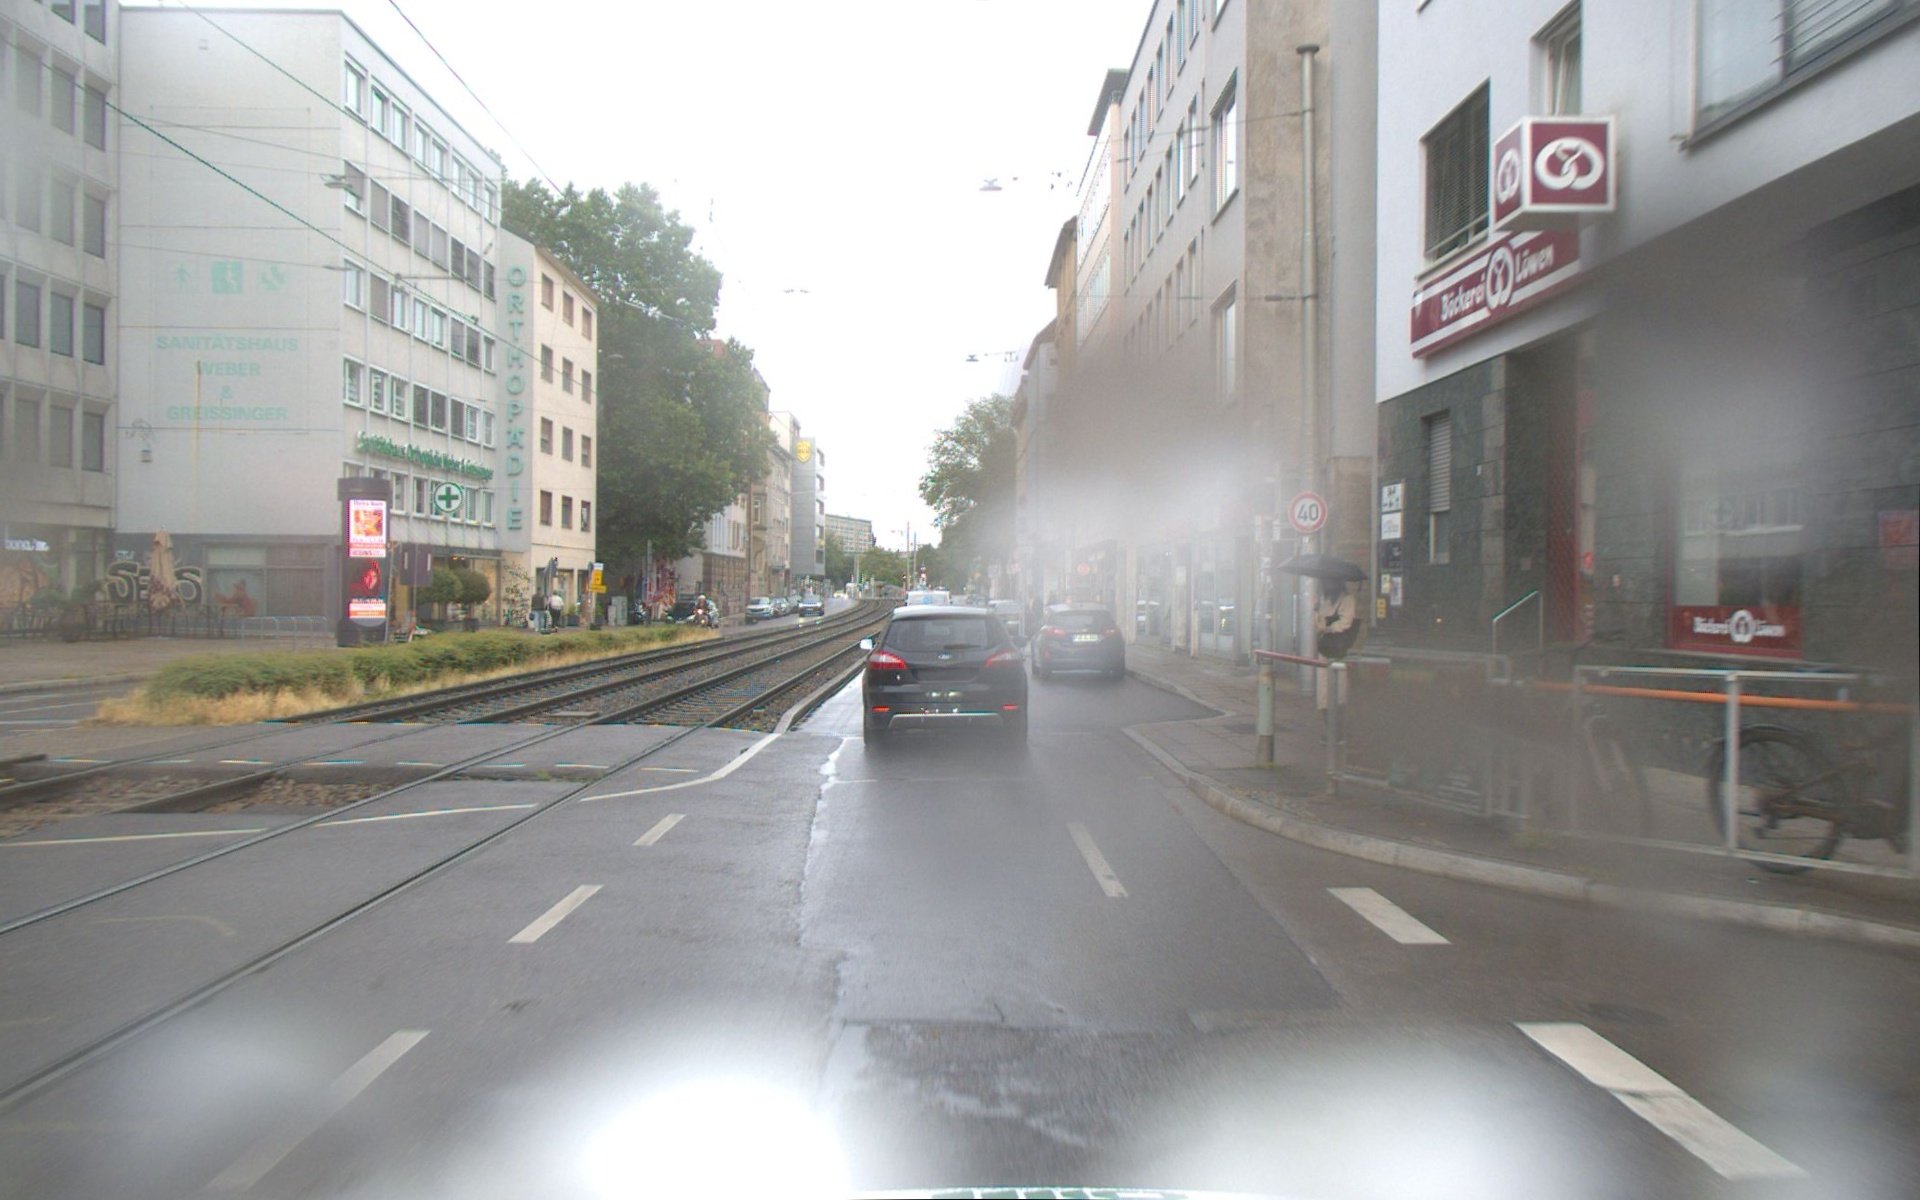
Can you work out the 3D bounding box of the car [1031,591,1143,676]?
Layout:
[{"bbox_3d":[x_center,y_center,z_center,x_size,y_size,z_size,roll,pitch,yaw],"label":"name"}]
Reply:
[{"bbox_3d":[2.541,0.675,33.948,1.953,1.622,4.270,-1,-1,0],"label":"car"}]

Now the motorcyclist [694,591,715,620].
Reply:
[{"bbox_3d":[-10.883,0.245,70.487,0.726,1.239,0.970,0,-1,1],"label":"motorcyclist"}]

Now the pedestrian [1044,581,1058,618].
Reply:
[{"bbox_3d":[5.107,-0.020,93.300,0.721,2.049,0.821,0,0,-2],"label":"pedestrian"}]

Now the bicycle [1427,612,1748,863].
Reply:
[{"bbox_3d":[3.516,0.712,9.464,0.490,1.281,1.941,1,-1,-25],"label":"bicycle"}]

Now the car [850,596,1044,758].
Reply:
[{"bbox_3d":[-0.131,0.818,18.923,1.953,1.622,4.270,-1,-1,0],"label":"car"}]

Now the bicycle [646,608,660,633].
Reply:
[{"bbox_3d":[-15.698,1.059,84.611,0.579,1.248,2.399,1,-1,-8],"label":"bicycle"}]

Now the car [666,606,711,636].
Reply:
[{"bbox_3d":[-14.318,1.098,87.348,1.708,1.494,4.219,-1,0,-1],"label":"car"}]

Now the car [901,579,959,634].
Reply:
[{"bbox_3d":[-1.013,0.253,58.287,1.953,1.848,4.270,-1,-1,0],"label":"car"}]

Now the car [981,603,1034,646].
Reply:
[{"bbox_3d":[1.830,0.965,65.404,1.953,1.622,4.571,-1,-1,0],"label":"car"}]

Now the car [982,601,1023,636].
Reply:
[{"bbox_3d":[1.934,0.849,76.732,1.710,1.550,4.354,0,0,-1],"label":"car"}]

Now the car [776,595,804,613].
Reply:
[{"bbox_3d":[-14.559,0.353,141.551,1.953,1.545,4.675,0,0,-1],"label":"car"}]

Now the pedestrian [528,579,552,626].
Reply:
[{"bbox_3d":[-17.482,0.114,68.868,0.712,1.929,0.982,0,-1,-1],"label":"pedestrian"}]

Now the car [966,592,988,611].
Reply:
[{"bbox_3d":[1.336,0.104,133.004,1.609,1.542,4.038,0,0,-1],"label":"car"}]

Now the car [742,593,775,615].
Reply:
[{"bbox_3d":[-14.679,0.288,120.741,1.953,1.545,4.434,0,0,-1],"label":"car"}]

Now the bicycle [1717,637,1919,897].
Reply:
[{"bbox_3d":[4.629,0.775,7.768,0.572,1.177,1.931,1,-1,-36],"label":"bicycle"}]

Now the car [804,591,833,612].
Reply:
[{"bbox_3d":[-10.960,0.114,128.448,1.953,1.545,4.443,0,0,-1],"label":"car"}]

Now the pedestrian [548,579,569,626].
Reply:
[{"bbox_3d":[-16.712,0.106,68.806,0.664,1.929,0.742,0,-1,-1],"label":"pedestrian"}]

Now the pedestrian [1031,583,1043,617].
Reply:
[{"bbox_3d":[4.340,0.001,93.150,0.648,1.884,0.821,0,0,-2],"label":"pedestrian"}]

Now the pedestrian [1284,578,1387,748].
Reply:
[{"bbox_3d":[3.671,0.601,16.201,0.650,1.610,0.774,0,-1,-22],"label":"pedestrian"}]

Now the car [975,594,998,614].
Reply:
[{"bbox_3d":[2.042,0.321,128.599,1.703,1.515,3.999,0,0,-1],"label":"car"}]

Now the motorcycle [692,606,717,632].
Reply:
[{"bbox_3d":[-10.893,0.823,70.534,0.727,1.078,1.931,0,-1,1],"label":"motorcycle"}]
